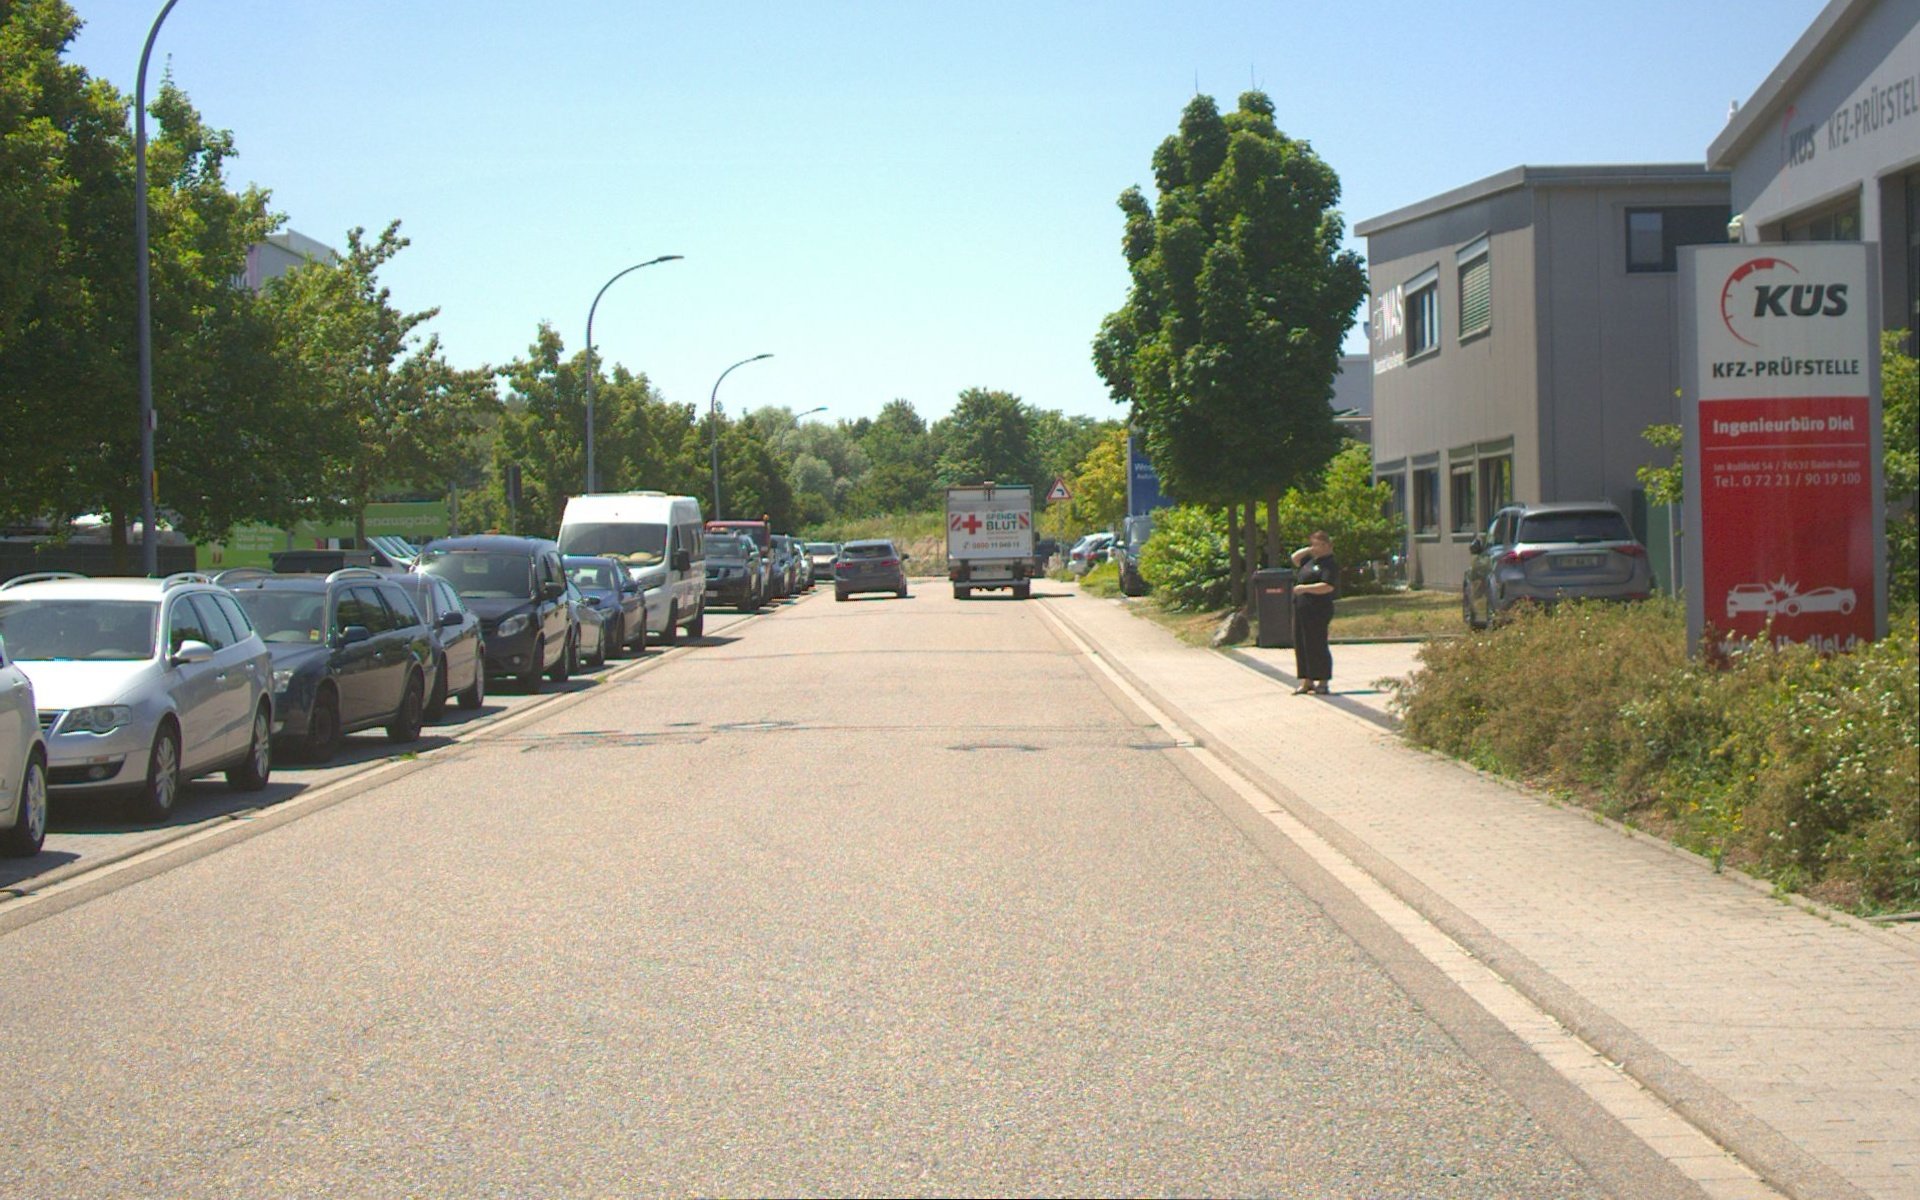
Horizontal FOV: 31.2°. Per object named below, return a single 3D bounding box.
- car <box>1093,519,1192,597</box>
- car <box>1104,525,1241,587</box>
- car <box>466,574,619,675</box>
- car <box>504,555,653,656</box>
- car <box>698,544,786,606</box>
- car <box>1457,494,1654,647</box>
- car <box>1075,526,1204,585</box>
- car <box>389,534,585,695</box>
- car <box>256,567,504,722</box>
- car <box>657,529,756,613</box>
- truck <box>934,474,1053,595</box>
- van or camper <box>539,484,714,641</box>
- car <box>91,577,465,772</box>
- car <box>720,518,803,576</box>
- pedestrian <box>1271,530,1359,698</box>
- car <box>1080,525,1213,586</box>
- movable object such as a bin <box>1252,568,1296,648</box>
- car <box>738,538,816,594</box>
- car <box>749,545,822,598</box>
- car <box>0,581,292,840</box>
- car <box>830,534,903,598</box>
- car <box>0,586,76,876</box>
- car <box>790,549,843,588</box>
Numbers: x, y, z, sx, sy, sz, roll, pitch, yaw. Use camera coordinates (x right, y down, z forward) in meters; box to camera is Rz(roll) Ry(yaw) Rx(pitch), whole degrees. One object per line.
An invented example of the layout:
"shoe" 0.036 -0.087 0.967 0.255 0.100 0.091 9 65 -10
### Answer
"car" 4.417 -1.024 83.683 1.993 1.797 4.140 -1 1 -2
"car" 6.305 -1.318 102.300 3.875 1.744 1.752 1 1 -2
"car" -5.643 0.307 46.825 1.478 1.293 3.899 0 1 2
"car" -5.671 0.056 51.578 1.799 1.444 4.252 0 1 -1
"car" -5.427 -0.643 85.963 1.799 1.482 4.252 0 1 2
"car" 7.511 -0.361 43.780 1.785 1.777 4.905 -2 0 2
"car" 5.606 -1.392 107.602 3.875 1.744 1.752 1 1 -2
"car" -5.591 0.138 41.103 1.799 1.808 4.252 0 1 -1
"car" -5.860 0.404 35.216 1.799 1.471 4.588 0 1 -1
"car" -5.724 -0.688 78.051 1.799 1.842 4.252 0 1 2
"truck" 0.874 -1.681 89.511 2.933 2.963 6.419 1 1 0
"van or camper" -5.557 -0.634 58.062 2.079 2.474 6.130 1 1 2
"car" -5.570 0.557 28.670 1.799 1.471 4.636 0 1 5
"car" -5.196 -1.413 90.579 1.799 1.482 4.252 0 1 2
"pedestrian" 3.497 0.139 33.897 0.499 1.608 0.714 -5 1 -16
"car" 5.655 -1.358 104.641 3.875 1.744 1.752 1 1 -2
"movable object such as a bin" 4.231 0.102 46.371 0.531 1.049 0.845 -1 0 2
"car" -5.038 -0.951 95.297 1.799 1.482 4.252 0 1 2
"car" -5.121 -0.861 101.141 1.799 1.482 4.252 0 1 2
"car" -5.691 0.629 22.226 1.799 1.471 4.555 0 1 1
"car" -2.430 -0.901 90.412 1.789 1.618 3.809 1 1 0
"car" -5.763 0.681 17.396 1.720 1.471 3.858 0 1 -2
"car" -5.643 -1.248 135.615 1.799 1.482 4.252 0 1 2
